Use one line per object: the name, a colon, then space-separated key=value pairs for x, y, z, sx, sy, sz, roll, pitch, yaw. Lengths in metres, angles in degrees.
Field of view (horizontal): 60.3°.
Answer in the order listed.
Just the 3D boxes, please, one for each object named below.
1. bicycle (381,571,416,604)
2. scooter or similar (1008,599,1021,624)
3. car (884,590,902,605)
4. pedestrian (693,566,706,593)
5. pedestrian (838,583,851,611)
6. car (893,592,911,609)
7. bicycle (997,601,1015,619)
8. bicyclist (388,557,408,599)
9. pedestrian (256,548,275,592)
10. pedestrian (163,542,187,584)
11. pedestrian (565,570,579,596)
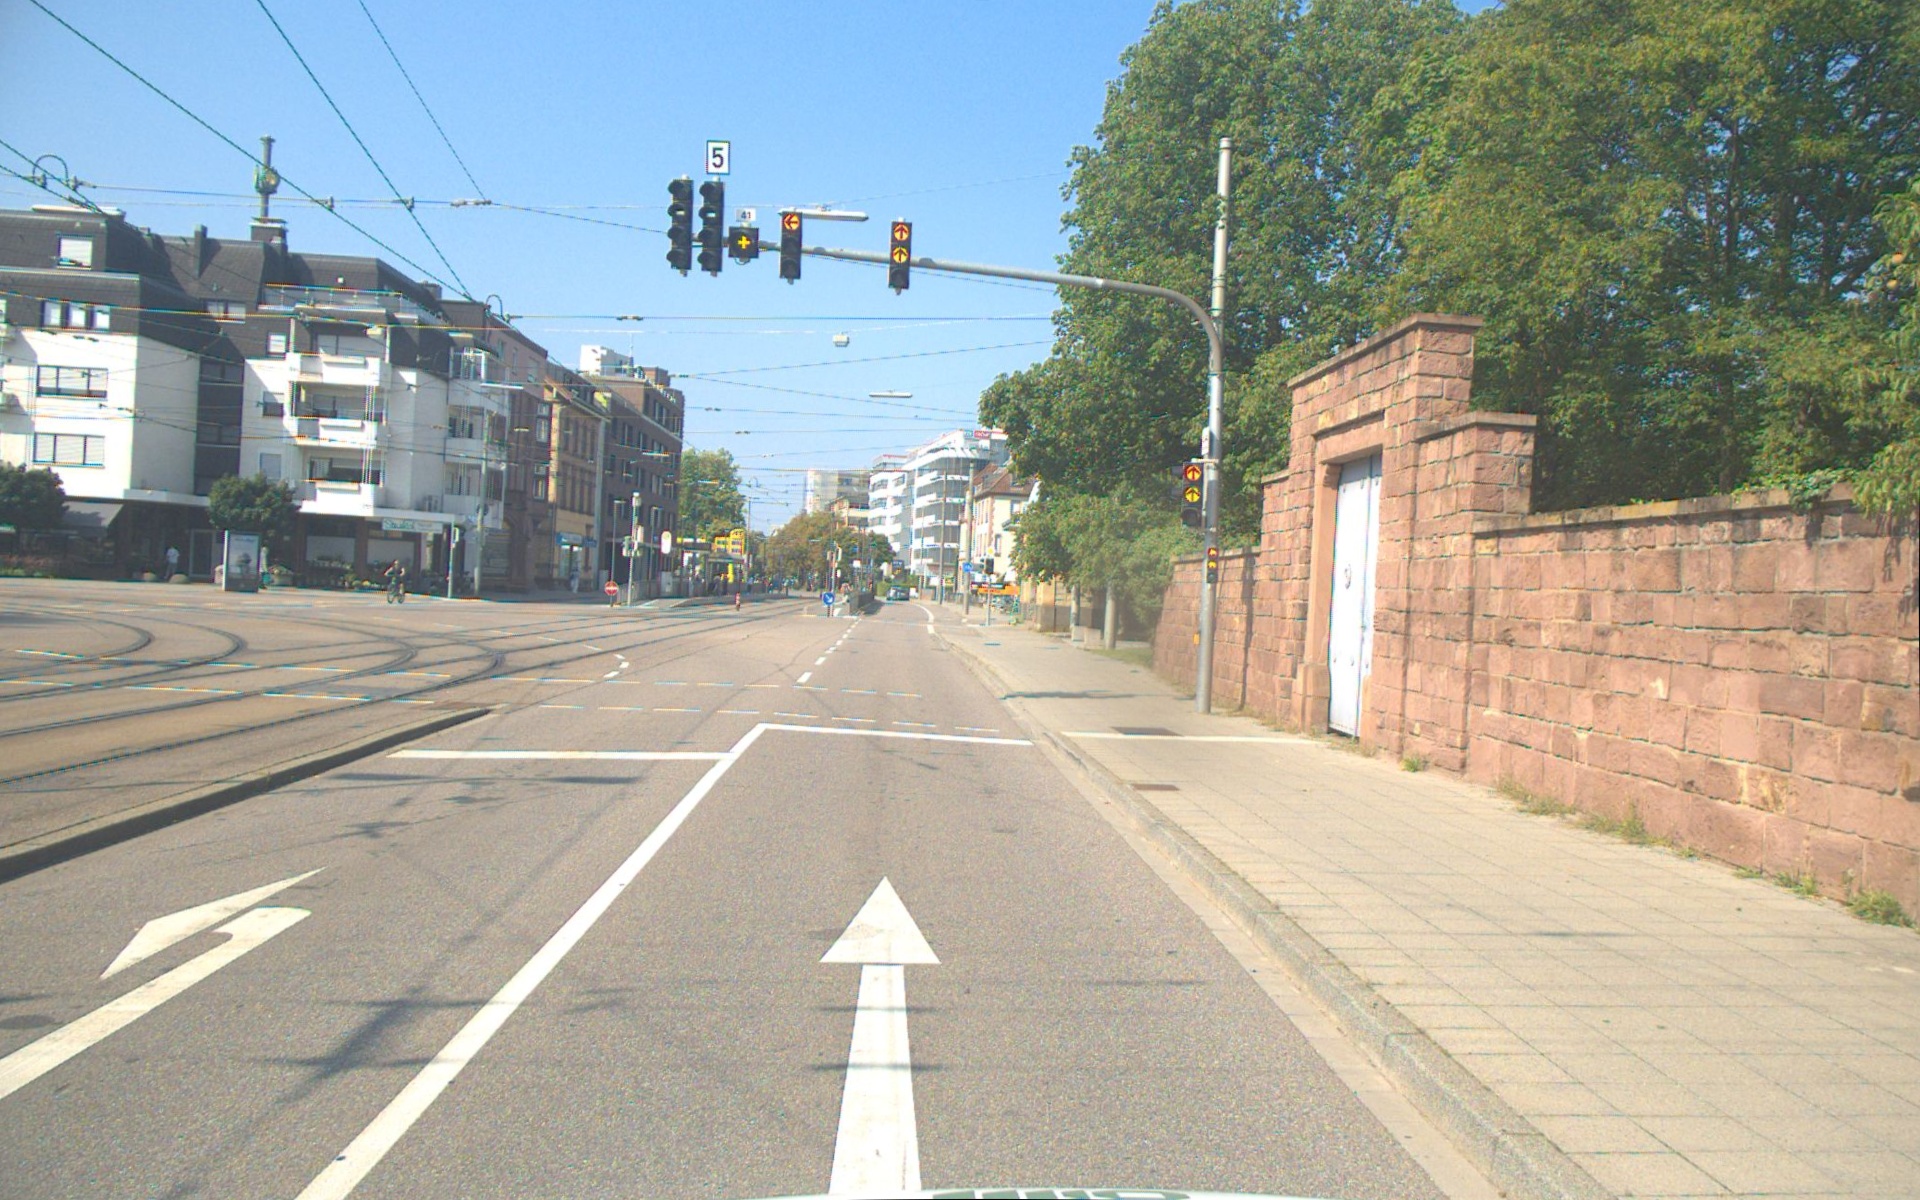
bicycle: x=-21.266 y=-0.480 z=62.647 sx=0.563 sy=1.200 sz=2.208 roll=1 pitch=1 yaw=0
scooter or similar: x=2.509 y=0.541 z=76.686 sx=0.512 sy=1.153 sz=1.511 roll=1 pitch=0 yaw=-1
car: x=-8.256 y=-0.314 z=204.068 sx=1.970 sy=1.891 sz=3.999 roll=1 pitch=0 yaw=-1
pedestrian: x=-16.785 y=-1.311 z=106.404 sx=0.693 sy=1.753 sz=0.799 roll=1 pitch=0 yaw=-2
pedestrian: x=-7.217 y=-0.161 z=103.240 sx=0.705 sy=1.733 sz=0.884 roll=1 pitch=0 yaw=-1
car: x=-6.931 y=0.056 z=197.937 sx=1.970 sy=1.891 sz=3.999 roll=1 pitch=0 yaw=-1
bicycle: x=3.021 y=0.640 z=108.786 sx=0.717 sy=1.152 sz=2.834 roll=-1 pitch=0 yaw=-9
bicyclist: x=-21.258 y=-0.835 z=62.577 sx=0.556 sy=1.549 sz=0.490 roll=1 pitch=0 yaw=-1
pedestrian: x=-28.743 y=-1.245 z=68.438 sx=0.593 sy=1.776 sz=0.559 roll=1 pitch=0 yaw=-36
pedestrian: x=-33.705 y=-1.598 z=71.014 sx=0.666 sy=1.771 sz=0.698 roll=1 pitch=0 yaw=-1
pedestrian: x=-24.729 y=-1.083 z=105.317 sx=0.473 sy=1.587 sz=0.888 roll=4 pitch=-1 yaw=9
